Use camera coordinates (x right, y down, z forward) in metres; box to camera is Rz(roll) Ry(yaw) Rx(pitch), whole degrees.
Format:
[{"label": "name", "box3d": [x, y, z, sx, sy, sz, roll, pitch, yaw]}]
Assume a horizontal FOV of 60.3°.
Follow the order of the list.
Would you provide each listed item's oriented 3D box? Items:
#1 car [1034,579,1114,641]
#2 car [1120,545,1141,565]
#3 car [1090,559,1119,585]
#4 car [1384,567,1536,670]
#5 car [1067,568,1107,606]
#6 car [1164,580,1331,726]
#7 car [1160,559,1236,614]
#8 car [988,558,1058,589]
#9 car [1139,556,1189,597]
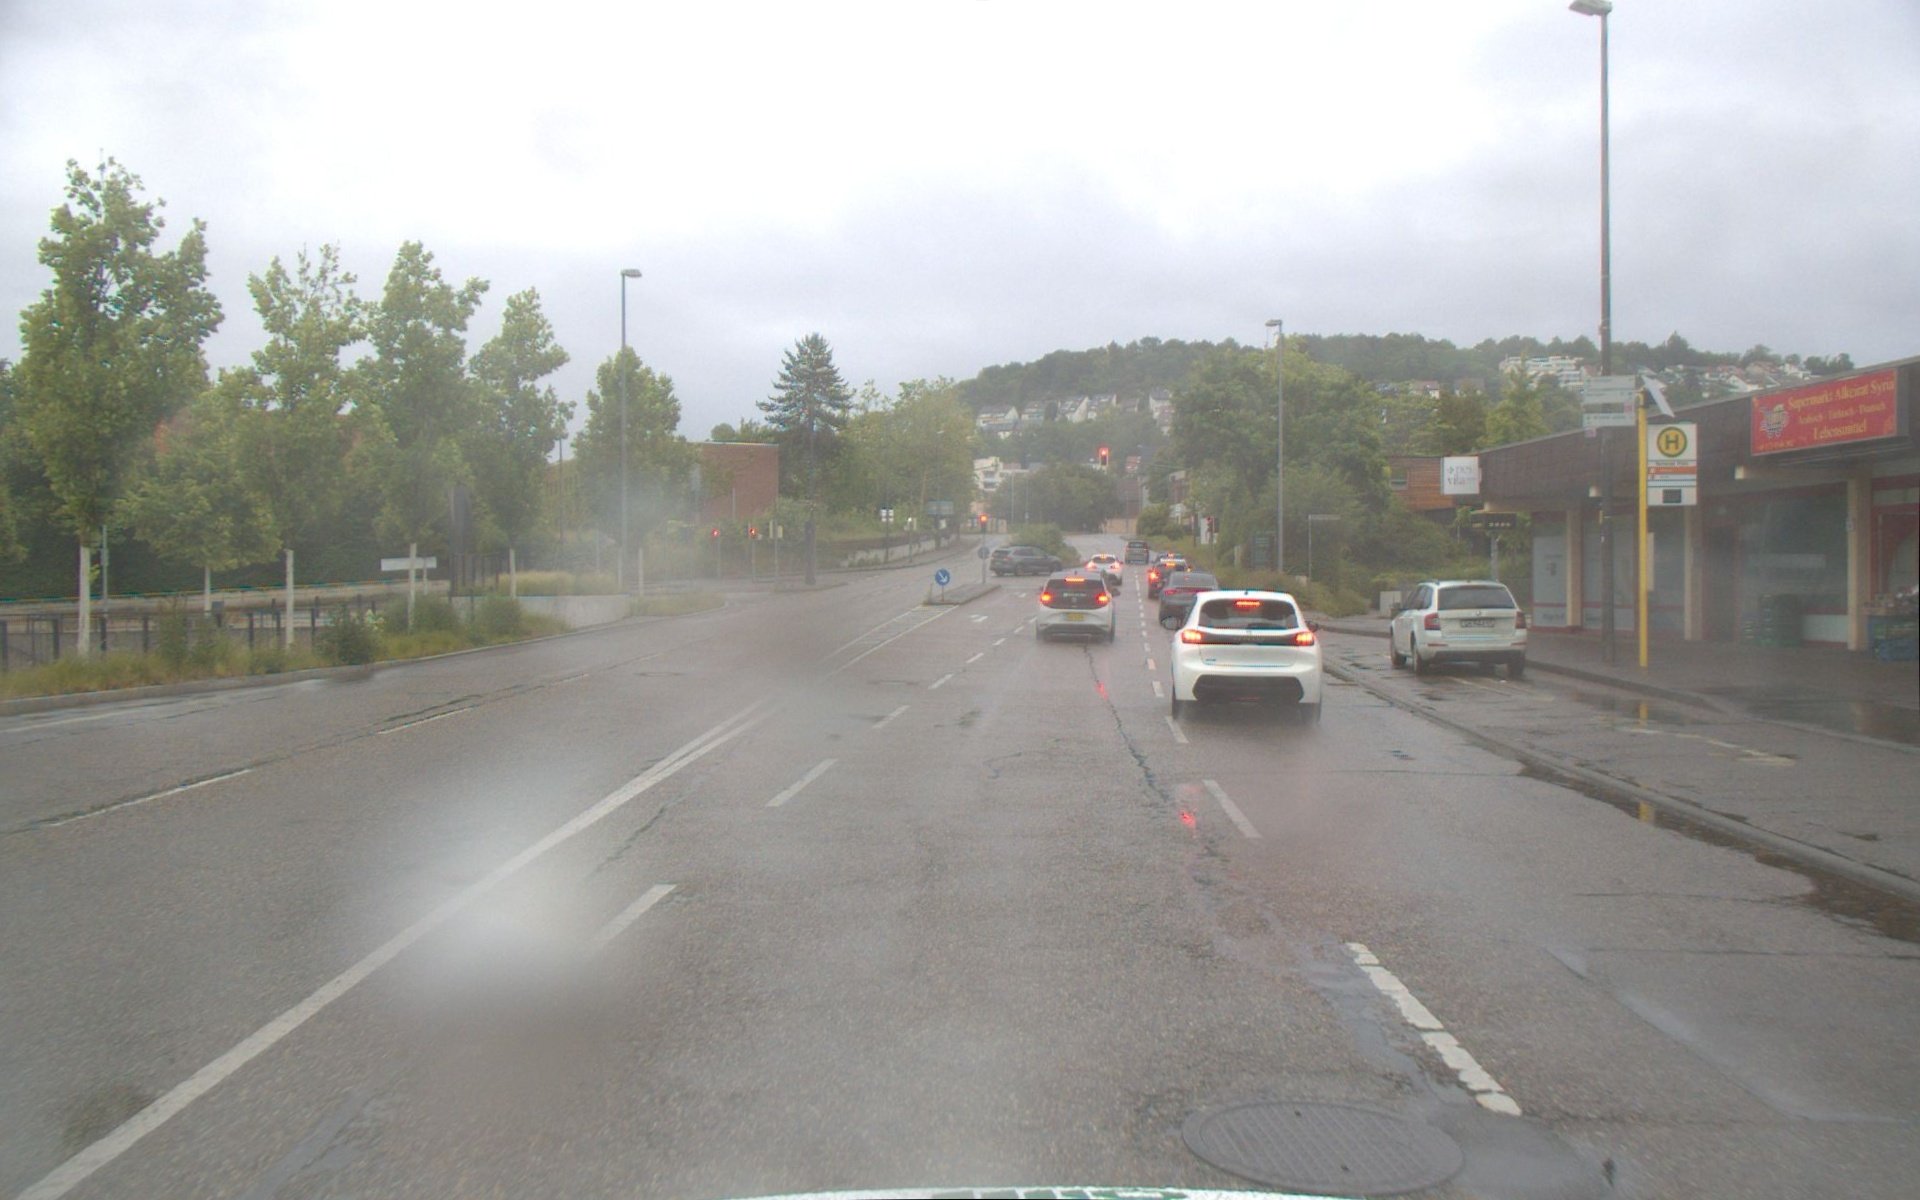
[{"label": "car", "box3d": [2.636, 0.220, 38.018, 1.704, 1.318, 3.336, -1, 0, 4]}, {"label": "car", "box3d": [11.594, -3.057, 112.570, 1.338, 1.177, 2.427, -1, -1, 4]}, {"label": "car", "box3d": [7.111, -1.351, 81.712, 1.356, 1.146, 2.611, -1, -1, 4]}, {"label": "car", "box3d": [8.216, 0.245, 27.537, 1.694, 1.523, 4.484, -2, 1, 8]}, {"label": "car", "box3d": [4.187, -0.415, 54.631, 1.187, 1.176, 2.270, -1, -1, 2]}, {"label": "car", "box3d": [3.351, 0.551, 19.870, 1.655, 1.545, 3.936, 0, 1, 5]}, {"label": "car", "box3d": [6.832, -0.429, 47.731, 1.698, 1.411, 3.353, 1, 3, 0]}, {"label": "car", "box3d": [3.503, -1.473, 92.261, 3.475, 1.596, 1.783, -1, -2, -29]}, {"label": "car", "box3d": [8.418, -0.961, 68.460, 1.614, 1.511, 3.365, -1, -1, 0]}]
